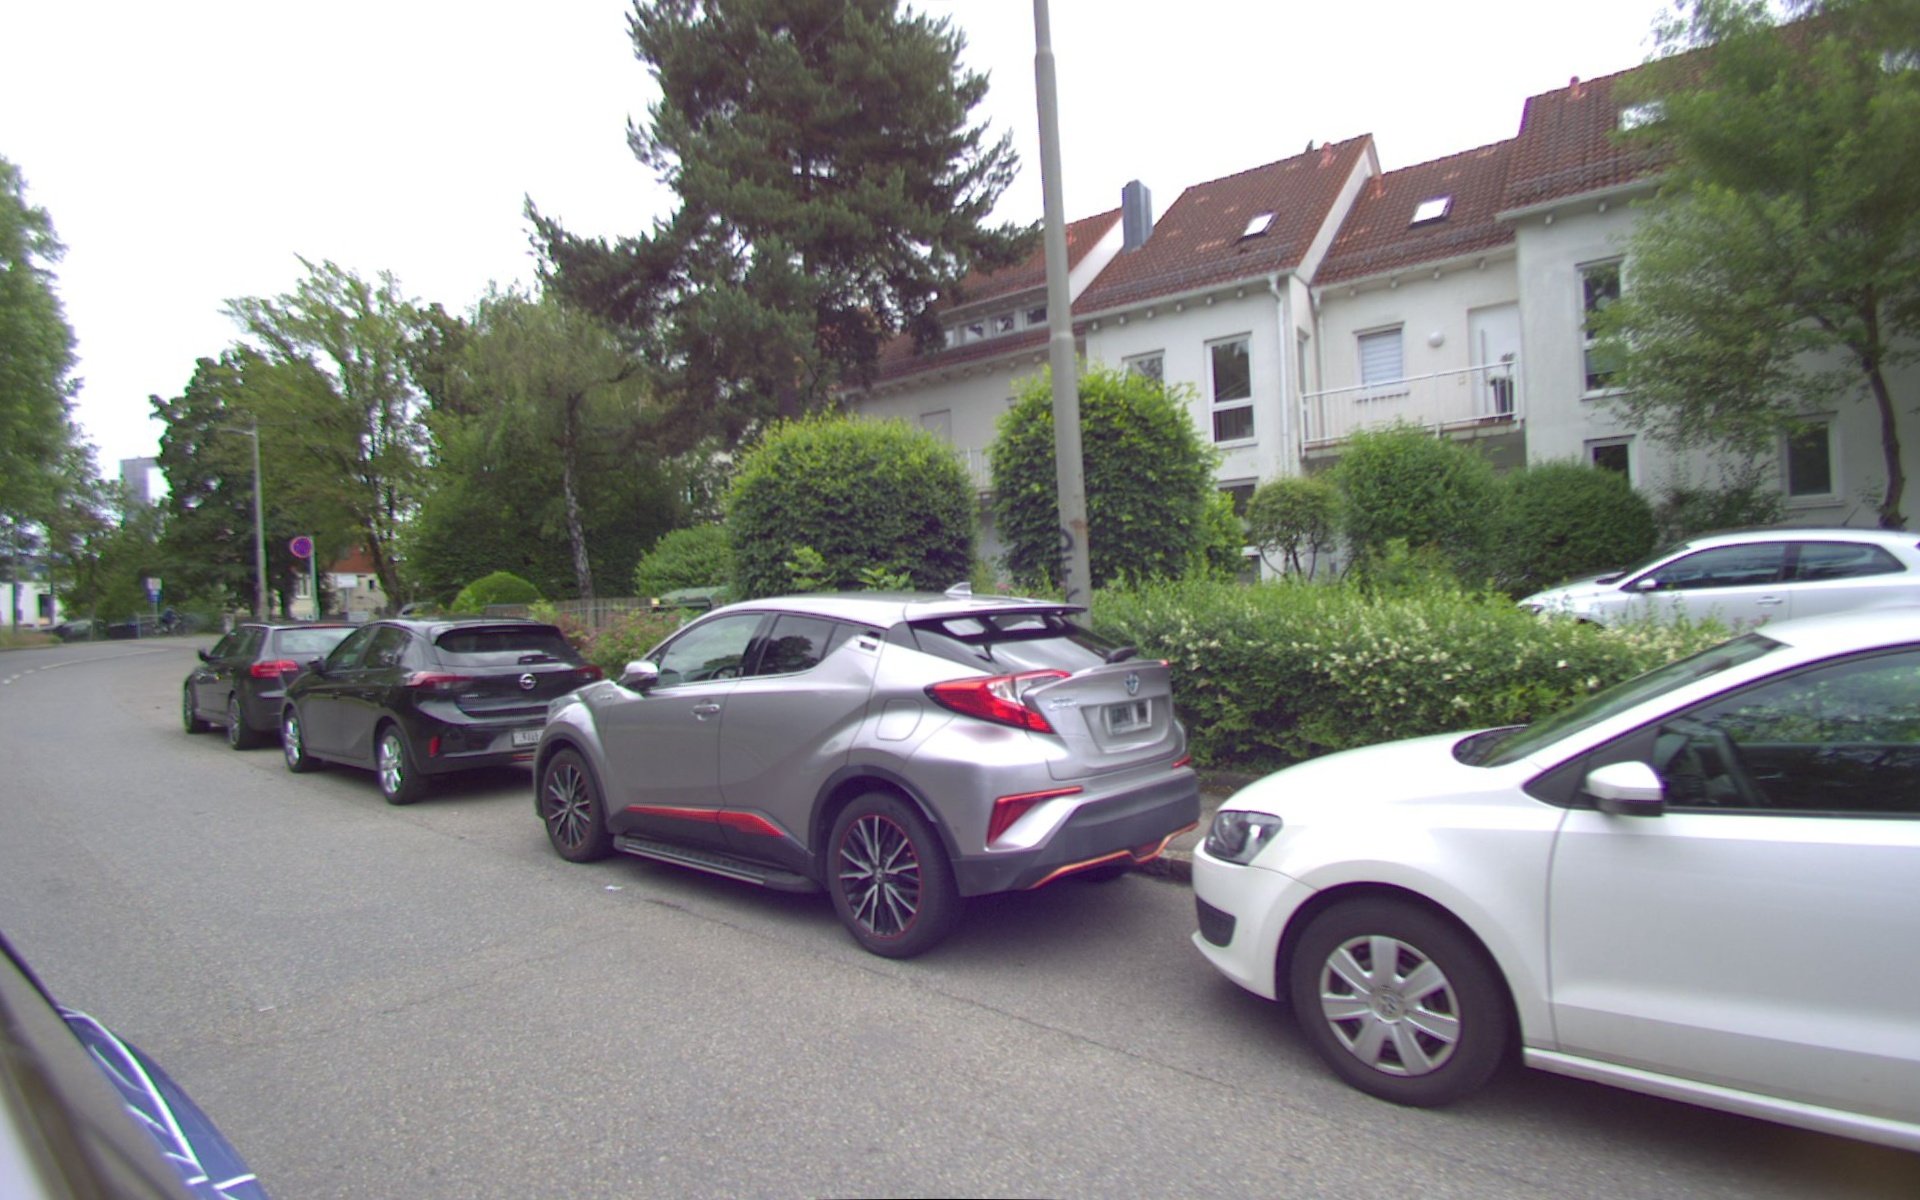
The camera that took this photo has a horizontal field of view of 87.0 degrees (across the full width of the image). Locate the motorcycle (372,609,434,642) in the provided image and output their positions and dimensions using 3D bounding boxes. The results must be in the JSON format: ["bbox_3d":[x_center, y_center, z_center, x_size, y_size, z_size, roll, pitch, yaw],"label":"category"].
[{"bbox_3d":[-22.680,1.016,41.226,0.861,1.160,2.048,-1,3,27],"label":"motorcycle"}]

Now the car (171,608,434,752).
[{"bbox_3d":[-8.382,0.923,12.716,4.504,1.429,1.716,-3,0,43],"label":"car"}]

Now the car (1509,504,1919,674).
[{"bbox_3d":[7.922,-0.079,10.178,3.931,1.469,1.685,-2,0,41],"label":"car"}]

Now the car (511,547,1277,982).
[{"bbox_3d":[-0.629,0.571,5.497,4.126,1.491,1.743,-1,1,42],"label":"car"}]

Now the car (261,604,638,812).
[{"bbox_3d":[-4.830,0.812,9.258,4.332,1.452,1.632,-2,-1,42],"label":"car"}]

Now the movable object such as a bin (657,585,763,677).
[{"bbox_3d":[-4.266,0.509,17.271,1.452,1.478,1.082,-2,0,41],"label":"movable object such as a bin"}]

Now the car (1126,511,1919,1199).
[{"bbox_3d":[2.589,0.530,2.762,3.923,1.491,1.607,-1,1,39],"label":"car"}]

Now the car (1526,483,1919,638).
[{"bbox_3d":[9.298,-0.455,12.261,3.996,1.585,1.804,-1,5,39],"label":"car"}]
